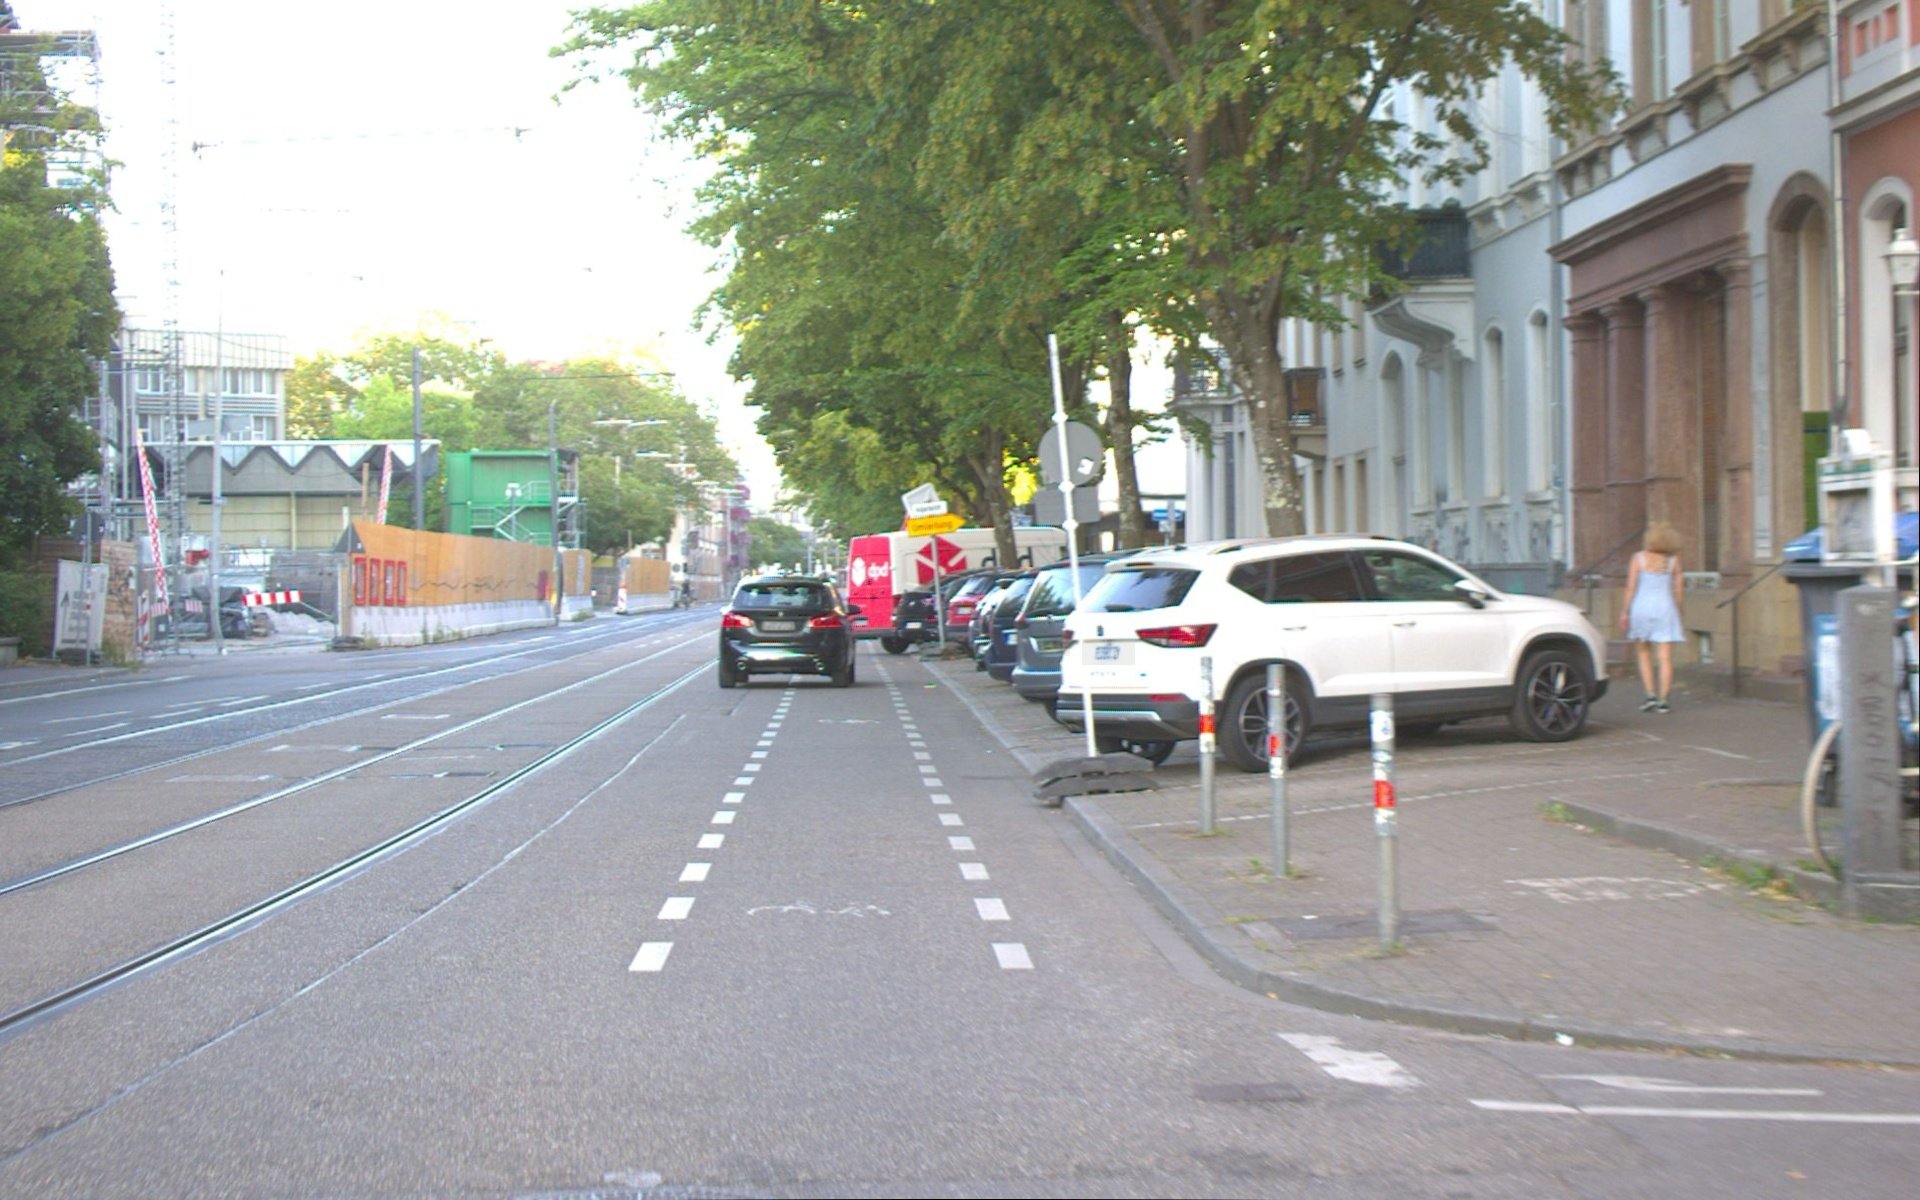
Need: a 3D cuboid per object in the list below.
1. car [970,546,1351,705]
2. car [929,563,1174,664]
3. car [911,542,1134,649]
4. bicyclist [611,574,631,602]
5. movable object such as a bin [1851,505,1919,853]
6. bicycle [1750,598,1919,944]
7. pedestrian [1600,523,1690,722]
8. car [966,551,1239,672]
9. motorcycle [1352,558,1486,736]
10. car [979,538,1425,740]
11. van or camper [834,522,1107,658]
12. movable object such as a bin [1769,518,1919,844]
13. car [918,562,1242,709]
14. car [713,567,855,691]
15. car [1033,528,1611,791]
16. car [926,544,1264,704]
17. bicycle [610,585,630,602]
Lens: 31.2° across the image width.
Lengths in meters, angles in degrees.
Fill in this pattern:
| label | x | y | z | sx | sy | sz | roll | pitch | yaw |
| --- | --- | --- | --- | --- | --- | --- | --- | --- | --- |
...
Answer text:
| label | x | y | z | sx | sy | sz | roll | pitch | yaw |
| --- | --- | --- | --- | --- | --- | --- | --- | --- | --- |
| car | 2.297 | 0.287 | 39.136 | 3.942 | 1.598 | 1.840 | -3 | 0 | -34 |
| car | 1.653 | 0.245 | 61.846 | 3.942 | 1.598 | 1.840 | -3 | 0 | -28 |
| car | 1.255 | -0.096 | 68.827 | 3.942 | 1.759 | 1.840 | -6 | 1 | -28 |
| bicyclist | -17.209 | -0.609 | 174.611 | 0.944 | 1.341 | 1.111 | -1 | 0 | -5 |
| movable object such as a bin | 4.684 | 0.335 | 15.080 | 1.140 | 1.497 | 1.399 | 0 | 0 | -2 |
| bicycle | 3.992 | 0.624 | 13.522 | 1.912 | 1.262 | 0.601 | -2 | 0 | -36 |
| pedestrian | 5.622 | 0.179 | 28.226 | 0.586 | 1.604 | 0.624 | -1 | 0 | -2 |
| car | 2.306 | 0.179 | 55.155 | 3.943 | 1.598 | 1.840 | -5 | 0 | -34 |
| motorcycle | 3.823 | 0.368 | 28.509 | 0.873 | 1.387 | 2.077 | -3 | 0 | 12 |
| car | 2.361 | 0.361 | 33.103 | 3.943 | 1.663 | 1.901 | -4 | 0 | -39 |
| van or camper | 0.264 | -0.227 | 73.512 | 5.533 | 2.522 | 2.086 | -4 | 1 | -36 |
| movable object such as a bin | 4.648 | 0.361 | 16.515 | 1.140 | 1.497 | 1.399 | 0 | 0 | -2 |
| car | 1.647 | 0.475 | 46.672 | 3.943 | 1.598 | 1.840 | -6 | 2 | -34 |
| car | -2.462 | 0.380 | 48.476 | 1.881 | 1.614 | 4.000 | 2 | 0 | -2 |
| car | 2.672 | 0.385 | 25.091 | 3.942 | 1.621 | 1.674 | -4 | 2 | -32 |
| car | 1.741 | 0.291 | 43.737 | 3.944 | 1.598 | 1.840 | -7 | 2 | -39 |
| bicycle | -17.355 | -0.312 | 175.394 | 0.948 | 0.846 | 2.697 | -1 | 0 | -5 |
